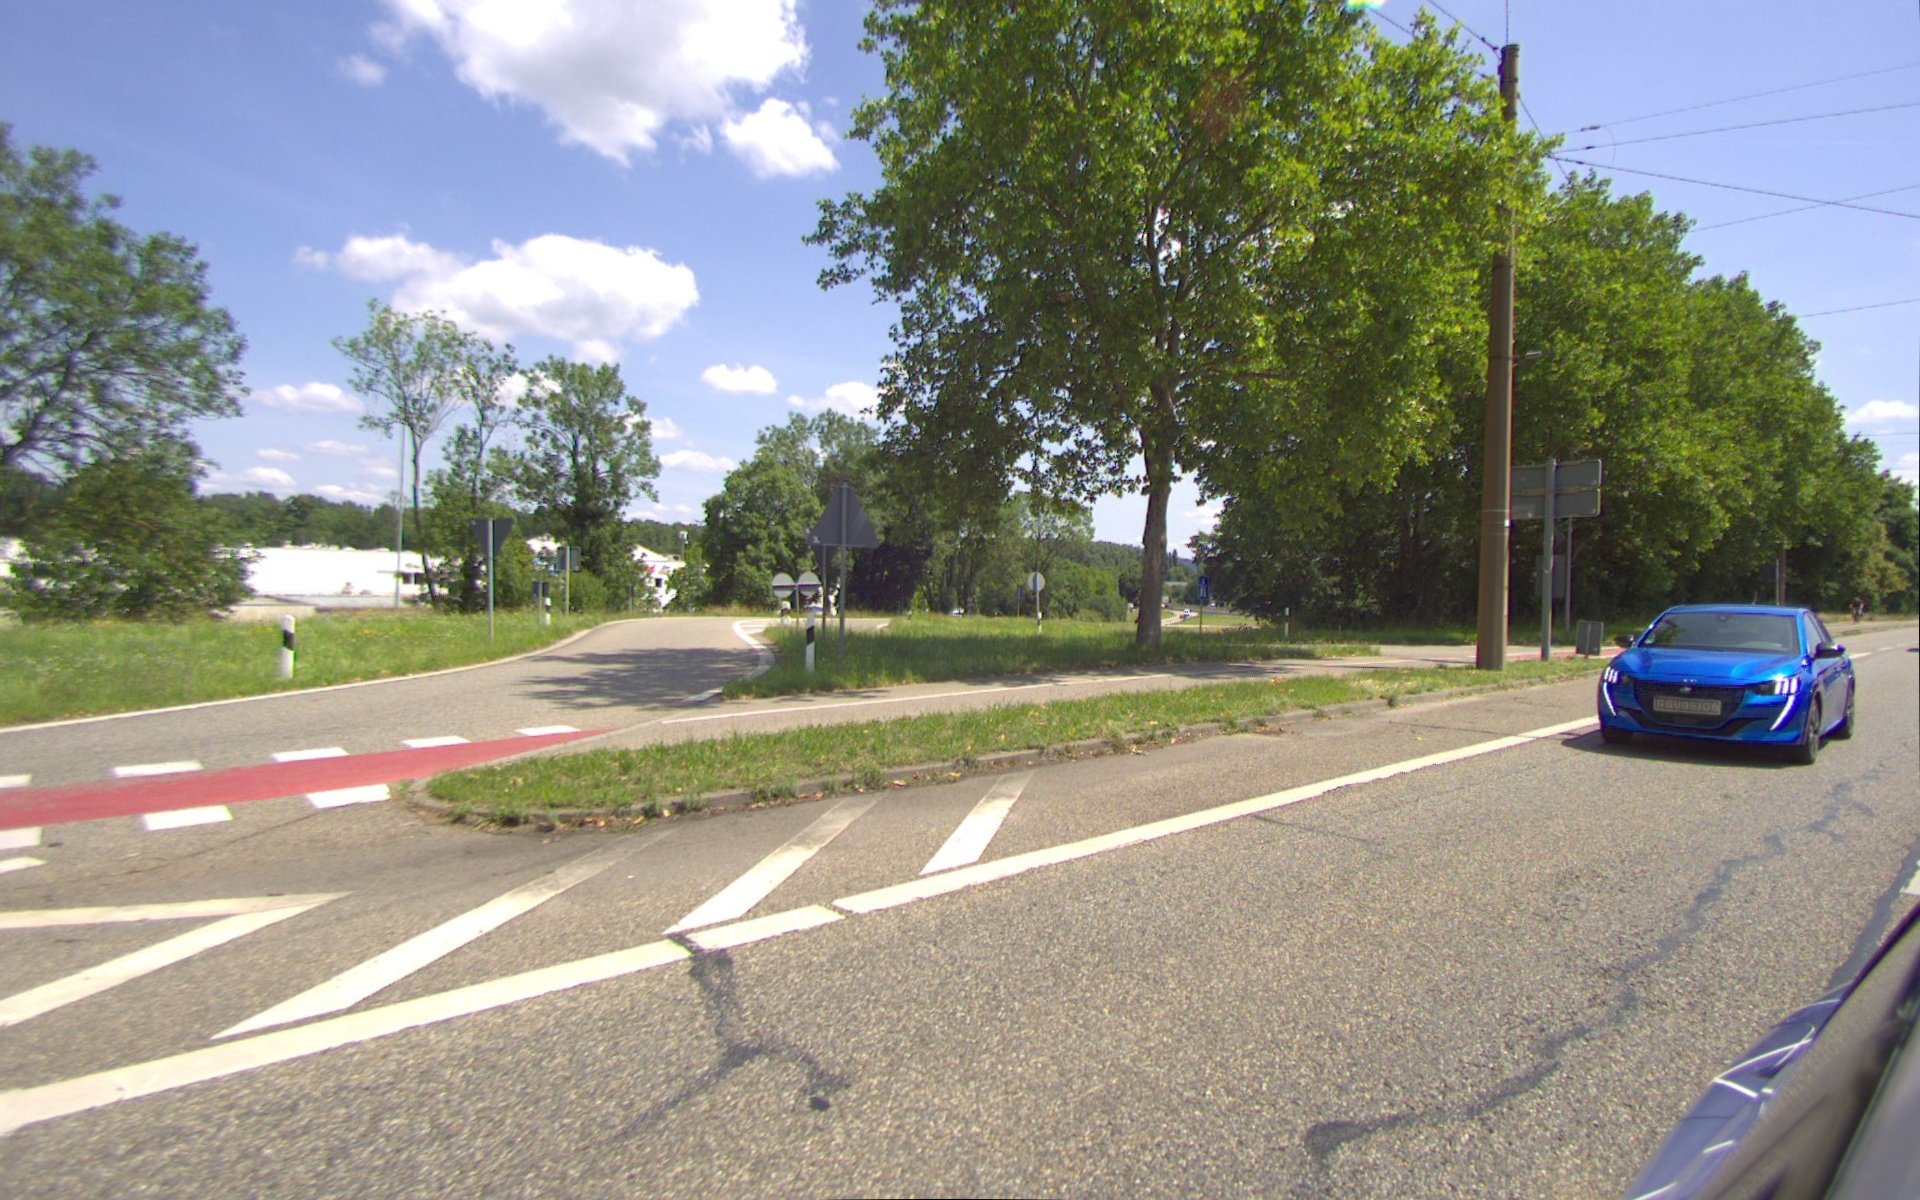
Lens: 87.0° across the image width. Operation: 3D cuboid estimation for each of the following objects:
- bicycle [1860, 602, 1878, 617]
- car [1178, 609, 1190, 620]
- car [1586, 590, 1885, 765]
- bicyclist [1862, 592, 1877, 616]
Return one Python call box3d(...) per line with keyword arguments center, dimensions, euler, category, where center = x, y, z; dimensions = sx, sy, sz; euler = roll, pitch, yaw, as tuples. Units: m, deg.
box3d(center=(58.430, 0.595, 65.032), dimensions=(1.859, 0.921, 0.607), euler=(0, 1, -41), category="bicycle")
box3d(center=(47.244, 3.092, 213.583), dimensions=(1.975, 2.038, 4.534), euler=(1, 1, 20), category="car")
box3d(center=(8.411, 0.658, 10.822), dimensions=(4.390, 1.490, 1.769), euler=(0, 0, -42), category="car")
box3d(center=(58.407, 0.245, 64.991), dimensions=(0.930, 1.492, 0.607), euler=(0, 1, -41), category="bicyclist")
